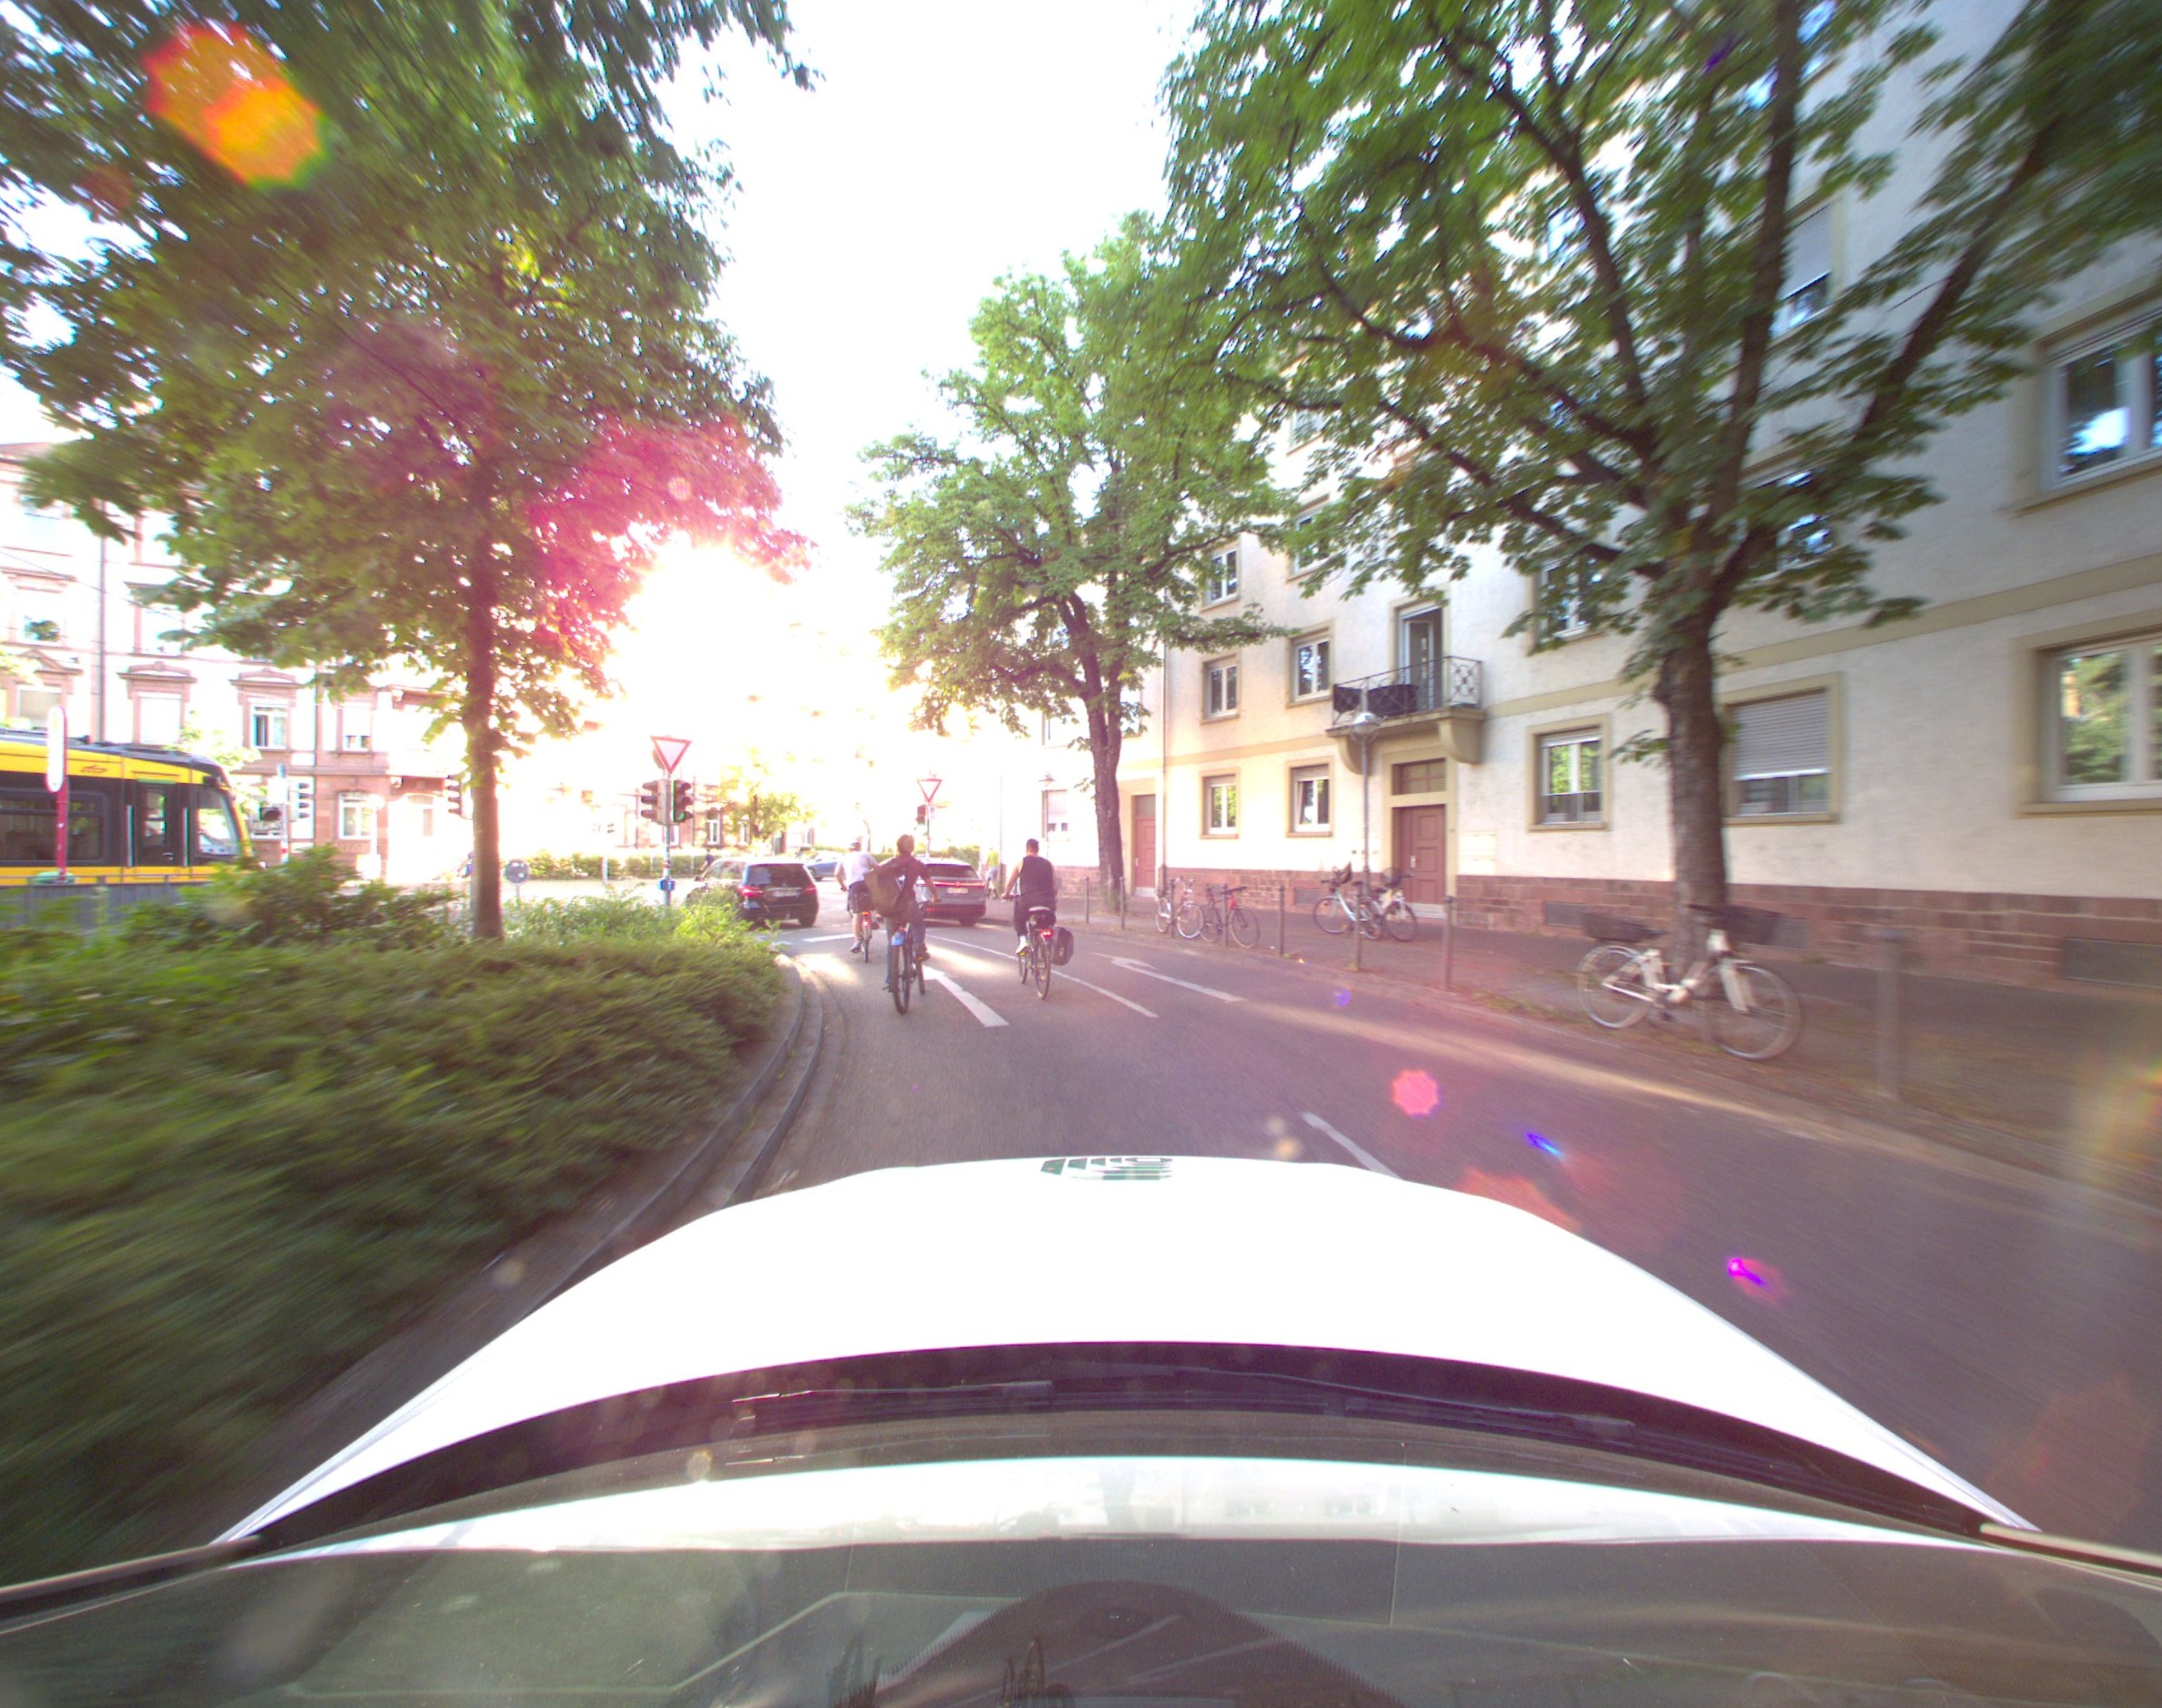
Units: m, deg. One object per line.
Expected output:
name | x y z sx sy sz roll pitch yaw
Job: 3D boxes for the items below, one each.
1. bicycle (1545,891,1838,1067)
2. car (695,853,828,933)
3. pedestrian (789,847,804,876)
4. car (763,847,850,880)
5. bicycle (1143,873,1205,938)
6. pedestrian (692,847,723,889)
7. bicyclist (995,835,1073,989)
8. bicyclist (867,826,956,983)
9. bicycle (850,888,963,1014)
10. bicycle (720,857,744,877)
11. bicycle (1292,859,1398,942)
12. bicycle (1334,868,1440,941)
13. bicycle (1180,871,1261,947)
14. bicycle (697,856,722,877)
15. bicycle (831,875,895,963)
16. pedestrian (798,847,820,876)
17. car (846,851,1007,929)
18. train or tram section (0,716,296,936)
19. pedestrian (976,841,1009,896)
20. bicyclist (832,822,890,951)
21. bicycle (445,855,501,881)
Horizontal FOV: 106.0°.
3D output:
bicycle | 4.756 0.895 6.552 0.514 1.095 1.963 -1 0 -16
car | -7.319 0.798 18.427 1.804 1.542 3.816 -2 1 -37
pedestrian | -17.133 0.464 49.087 0.514 1.715 0.640 0 0 34
car | -14.455 0.469 43.129 1.925 1.650 4.433 0 0 21
bicycle | 1.699 0.925 15.112 0.482 1.063 1.626 -2 1 -18
pedestrian | -14.909 0.563 32.532 0.902 1.635 0.723 2 0 -11
bicyclist | -0.561 0.628 9.409 0.688 1.656 0.984 -1 0 -16
bicyclist | -1.788 0.511 8.723 0.704 1.573 0.957 1 0 2
bicycle | -1.797 0.957 8.707 0.714 1.107 1.967 1 0 2
bicycle | -19.451 0.726 45.397 0.437 1.107 1.241 1 0 26
bicycle | 4.434 0.731 13.849 0.719 1.277 1.955 -1 0 -17
bicycle | 5.145 0.809 13.828 0.668 1.107 1.956 1 0 -15
bicycle | 2.291 0.869 13.573 0.528 1.107 1.729 -3 1 -20
bicycle | -20.115 0.686 44.126 0.437 1.107 1.241 1 1 26
bicycle | -3.418 0.948 12.640 0.812 1.185 2.212 0 0 -19
pedestrian | -16.066 0.433 48.131 0.703 1.664 0.904 4 2 38
car | -3.760 0.779 19.179 1.985 1.585 4.426 3 -1 -36
train or tram section | -19.809 -0.482 11.927 2.768 3.620 11.860 0 0 20
pedestrian | -2.866 0.460 26.234 0.648 1.727 0.879 -3 1 -35
bicyclist | -3.431 0.486 12.681 0.797 1.913 0.939 1 0 -19
bicycle | -27.043 0.614 36.262 1.975 1.107 0.438 2 -1 -36
